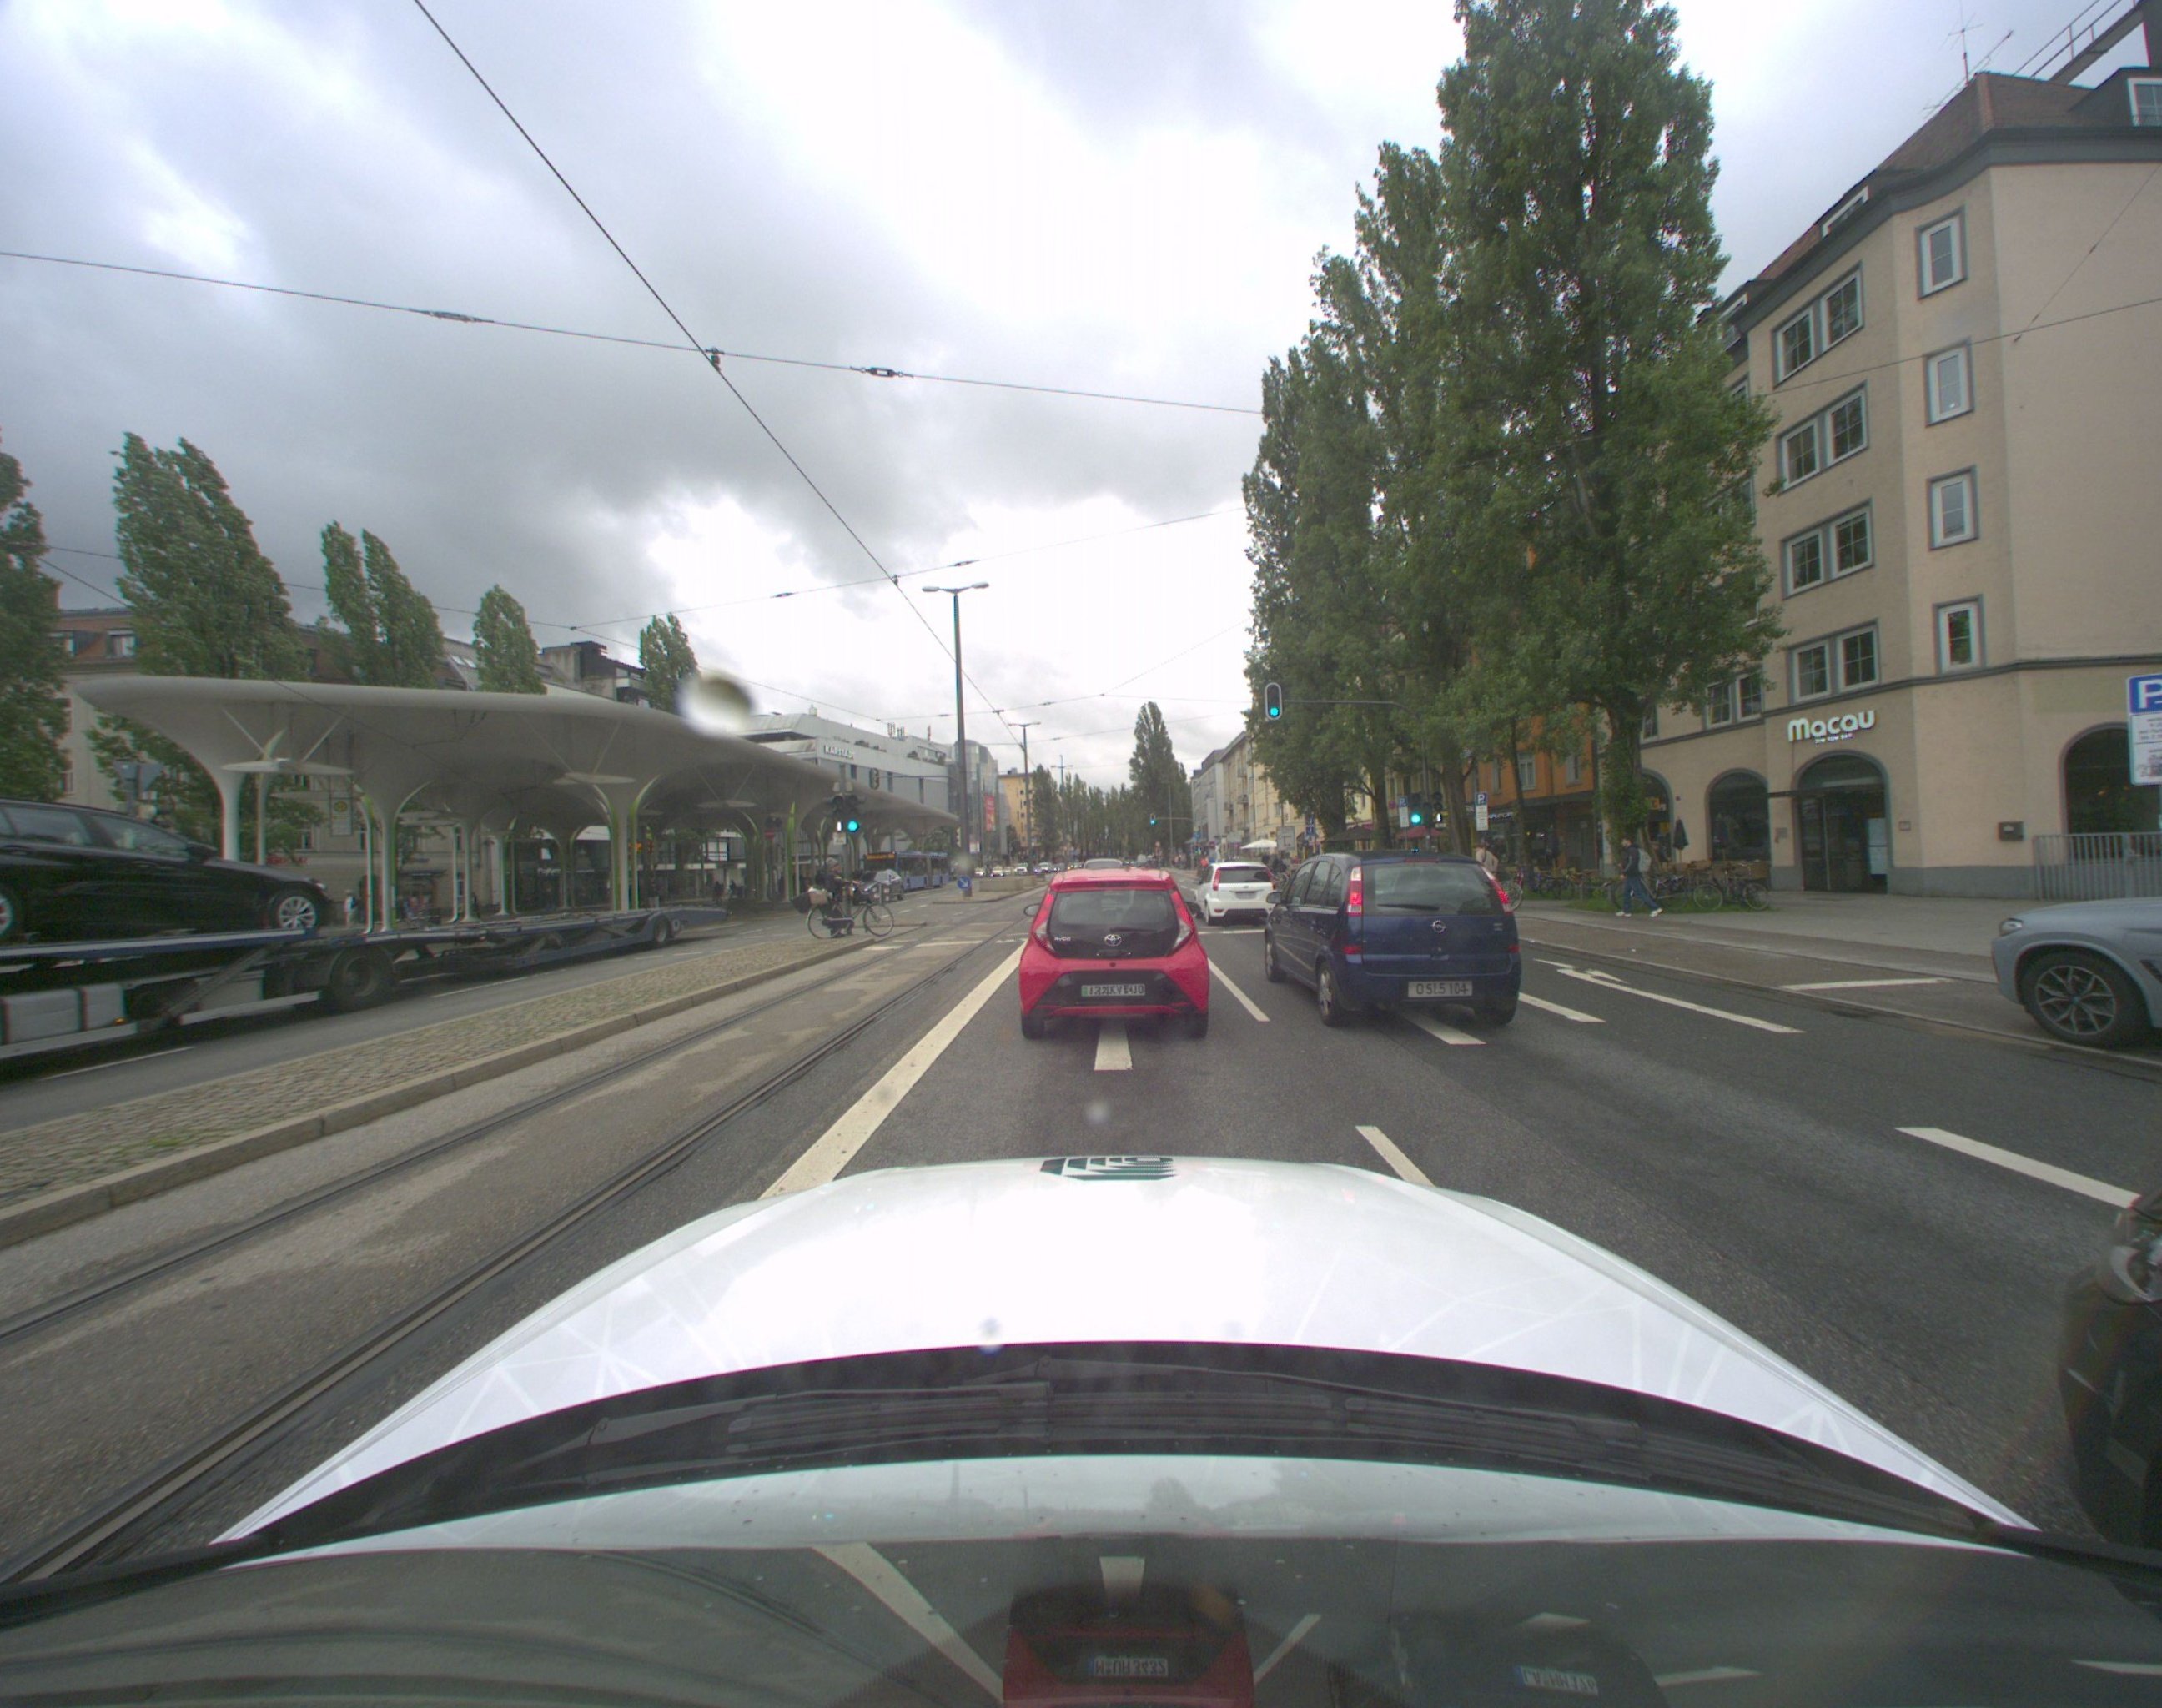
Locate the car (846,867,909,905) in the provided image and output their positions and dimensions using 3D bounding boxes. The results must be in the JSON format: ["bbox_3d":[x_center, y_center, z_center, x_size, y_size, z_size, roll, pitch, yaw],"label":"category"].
[{"bbox_3d":[-10.323,1.580,41.760,1.856,1.638,4.679,-4,-1,1],"label":"car"}]

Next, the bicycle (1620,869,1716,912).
[{"bbox_3d":[13.269,0.826,18.422,1.825,0.917,0.392,-1,-1,3],"label":"bicycle"}]

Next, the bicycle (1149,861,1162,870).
[{"bbox_3d":[10.356,1.621,112.674,0.562,1.198,1.782,-2,-1,-45],"label":"bicycle"}]

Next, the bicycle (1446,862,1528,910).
[{"bbox_3d":[9.875,0.790,19.853,0.361,1.102,1.724,-2,-1,-42],"label":"bicycle"}]

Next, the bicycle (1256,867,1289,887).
[{"bbox_3d":[9.916,1.170,42.175,0.377,0.995,1.821,-2,1,-37],"label":"bicycle"}]

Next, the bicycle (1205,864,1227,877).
[{"bbox_3d":[10.729,1.310,64.810,1.818,0.996,0.350,-4,-1,42],"label":"bicycle"}]

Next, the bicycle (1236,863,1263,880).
[{"bbox_3d":[10.491,1.091,50.799,0.327,0.995,1.820,-2,1,-41],"label":"bicycle"}]

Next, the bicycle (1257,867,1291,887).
[{"bbox_3d":[9.845,1.165,41.536,0.377,0.995,1.821,-2,1,-37],"label":"bicycle"}]

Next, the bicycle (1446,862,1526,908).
[{"bbox_3d":[10.201,0.802,20.538,1.722,1.102,0.361,-3,-1,37],"label":"bicycle"}]

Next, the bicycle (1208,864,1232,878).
[{"bbox_3d":[10.530,1.293,61.827,1.818,0.996,0.350,-4,-1,42],"label":"bicycle"}]

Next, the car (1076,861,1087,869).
[{"bbox_3d":[0.164,2.318,172.453,1.733,1.670,4.742,-3,0,8],"label":"car"}]

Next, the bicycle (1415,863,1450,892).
[{"bbox_3d":[12.603,0.830,29.249,0.587,0.965,1.654,-2,-1,2],"label":"bicycle"}]

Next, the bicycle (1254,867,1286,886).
[{"bbox_3d":[9.967,1.176,42.939,0.377,0.995,1.821,-2,1,-37],"label":"bicycle"}]

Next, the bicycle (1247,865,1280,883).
[{"bbox_3d":[10.091,1.092,45.062,1.818,0.995,0.378,-1,1,40],"label":"bicycle"}]

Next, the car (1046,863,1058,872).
[{"bbox_3d":[-4.978,2.341,140.356,1.672,1.395,4.232,-4,0,0],"label":"car"}]

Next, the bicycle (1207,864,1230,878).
[{"bbox_3d":[10.552,1.299,62.482,1.818,0.996,0.350,-4,-1,42],"label":"bicycle"}]

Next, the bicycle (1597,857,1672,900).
[{"bbox_3d":[13.908,0.619,20.470,1.565,1.050,0.392,-1,-1,3],"label":"bicycle"}]

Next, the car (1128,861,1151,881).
[{"bbox_3d":[5.544,1.600,77.910,1.986,1.838,4.002,-2,0,2],"label":"car"}]

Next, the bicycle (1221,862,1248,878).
[{"bbox_3d":[10.281,1.078,54.527,1.818,0.995,0.327,-1,1,39],"label":"bicycle"}]

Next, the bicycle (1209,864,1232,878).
[{"bbox_3d":[10.450,1.290,61.159,0.350,0.996,1.819,-2,-1,-44],"label":"bicycle"}]

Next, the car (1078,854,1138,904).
[{"bbox_3d":[0.979,0.863,29.511,1.986,1.618,4.001,-3,0,2],"label":"car"}]

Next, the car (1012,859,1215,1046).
[{"bbox_3d":[0.349,0.804,8.110,1.598,1.461,3.132,-1,0,3],"label":"car"}]

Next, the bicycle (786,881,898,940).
[{"bbox_3d":[-5.083,1.184,17.393,2.236,1.150,0.502,-1,-2,-27],"label":"bicycle"}]

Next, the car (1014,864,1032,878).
[{"bbox_3d":[-8.997,2.636,127.075,2.168,1.887,6.155,-3,0,0],"label":"car"}]

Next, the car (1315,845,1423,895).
[{"bbox_3d":[9.476,0.509,27.211,1.987,1.440,4.528,-3,0,0],"label":"car"}]

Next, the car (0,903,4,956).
[{"bbox_3d":[-35.447,2.420,24.780,3.957,1.615,1.838,-3,-1,15],"label":"car"}]

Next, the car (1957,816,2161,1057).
[{"bbox_3d":[8.338,0.538,4.694,1.726,1.661,4.503,-3,0,1],"label":"car"}]

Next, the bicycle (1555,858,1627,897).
[{"bbox_3d":[15.196,0.697,24.281,1.789,1.109,0.447,-2,-1,3],"label":"bicycle"}]

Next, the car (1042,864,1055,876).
[{"bbox_3d":[-5.081,2.480,128.218,1.780,1.855,4.217,-4,-1,0],"label":"car"}]

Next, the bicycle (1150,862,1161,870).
[{"bbox_3d":[10.252,1.700,112.015,0.502,1.028,1.582,-2,-1,-40],"label":"bicycle"}]

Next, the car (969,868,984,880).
[{"bbox_3d":[-16.074,3.035,124.644,1.994,1.536,4.399,-3,0,-10],"label":"car"}]

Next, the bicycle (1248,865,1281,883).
[{"bbox_3d":[10.005,1.087,44.382,1.819,0.995,0.377,-1,1,44],"label":"bicycle"}]

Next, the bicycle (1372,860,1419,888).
[{"bbox_3d":[14.344,0.897,37.124,1.879,1.174,0.582,-2,-1,3],"label":"bicycle"}]

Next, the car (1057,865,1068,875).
[{"bbox_3d":[-2.971,2.471,129.344,1.540,1.445,3.540,-4,0,1],"label":"car"}]

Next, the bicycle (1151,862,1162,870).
[{"bbox_3d":[10.294,1.695,111.157,0.502,1.028,1.582,-2,-1,-40],"label":"bicycle"}]

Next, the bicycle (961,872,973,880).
[{"bbox_3d":[-16.202,3.160,115.669,1.566,1.112,0.374,-2,-1,5],"label":"bicycle"}]

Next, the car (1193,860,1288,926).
[{"bbox_3d":[3.731,0.869,19.612,1.693,1.426,3.498,0,0,2],"label":"car"}]

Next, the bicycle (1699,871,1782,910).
[{"bbox_3d":[15.045,0.827,18.584,1.567,0.835,0.392,-1,-1,-1],"label":"bicycle"}]

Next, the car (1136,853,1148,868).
[{"bbox_3d":[11.876,1.214,158.355,2.098,2.718,4.806,-3,0,2],"label":"car"}]

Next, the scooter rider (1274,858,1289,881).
[{"bbox_3d":[12.158,0.946,49.329,0.698,1.389,0.643,-3,-1,0],"label":"scooter rider"}]

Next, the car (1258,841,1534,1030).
[{"bbox_3d":[3.043,0.693,8.656,1.696,1.589,3.558,0,0,2],"label":"car"}]

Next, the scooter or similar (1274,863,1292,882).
[{"bbox_3d":[12.206,1.103,49.232,0.773,1.075,1.256,-3,-1,0],"label":"scooter or similar"}]

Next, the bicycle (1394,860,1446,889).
[{"bbox_3d":[13.536,0.816,32.536,1.882,1.054,0.458,-2,-1,-1],"label":"bicycle"}]

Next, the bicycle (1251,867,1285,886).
[{"bbox_3d":[10.018,1.181,43.632,0.377,0.995,1.819,-2,1,-43],"label":"bicycle"}]

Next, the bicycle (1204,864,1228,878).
[{"bbox_3d":[10.486,1.306,63.292,1.818,0.996,0.350,-4,-1,42],"label":"bicycle"}]

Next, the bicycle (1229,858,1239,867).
[{"bbox_3d":[19.166,1.088,102.236,0.495,1.059,1.858,-2,-1,-13],"label":"bicycle"}]

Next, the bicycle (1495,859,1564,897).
[{"bbox_3d":[13.386,0.710,24.314,1.789,1.109,0.447,0,-1,3],"label":"bicycle"}]
